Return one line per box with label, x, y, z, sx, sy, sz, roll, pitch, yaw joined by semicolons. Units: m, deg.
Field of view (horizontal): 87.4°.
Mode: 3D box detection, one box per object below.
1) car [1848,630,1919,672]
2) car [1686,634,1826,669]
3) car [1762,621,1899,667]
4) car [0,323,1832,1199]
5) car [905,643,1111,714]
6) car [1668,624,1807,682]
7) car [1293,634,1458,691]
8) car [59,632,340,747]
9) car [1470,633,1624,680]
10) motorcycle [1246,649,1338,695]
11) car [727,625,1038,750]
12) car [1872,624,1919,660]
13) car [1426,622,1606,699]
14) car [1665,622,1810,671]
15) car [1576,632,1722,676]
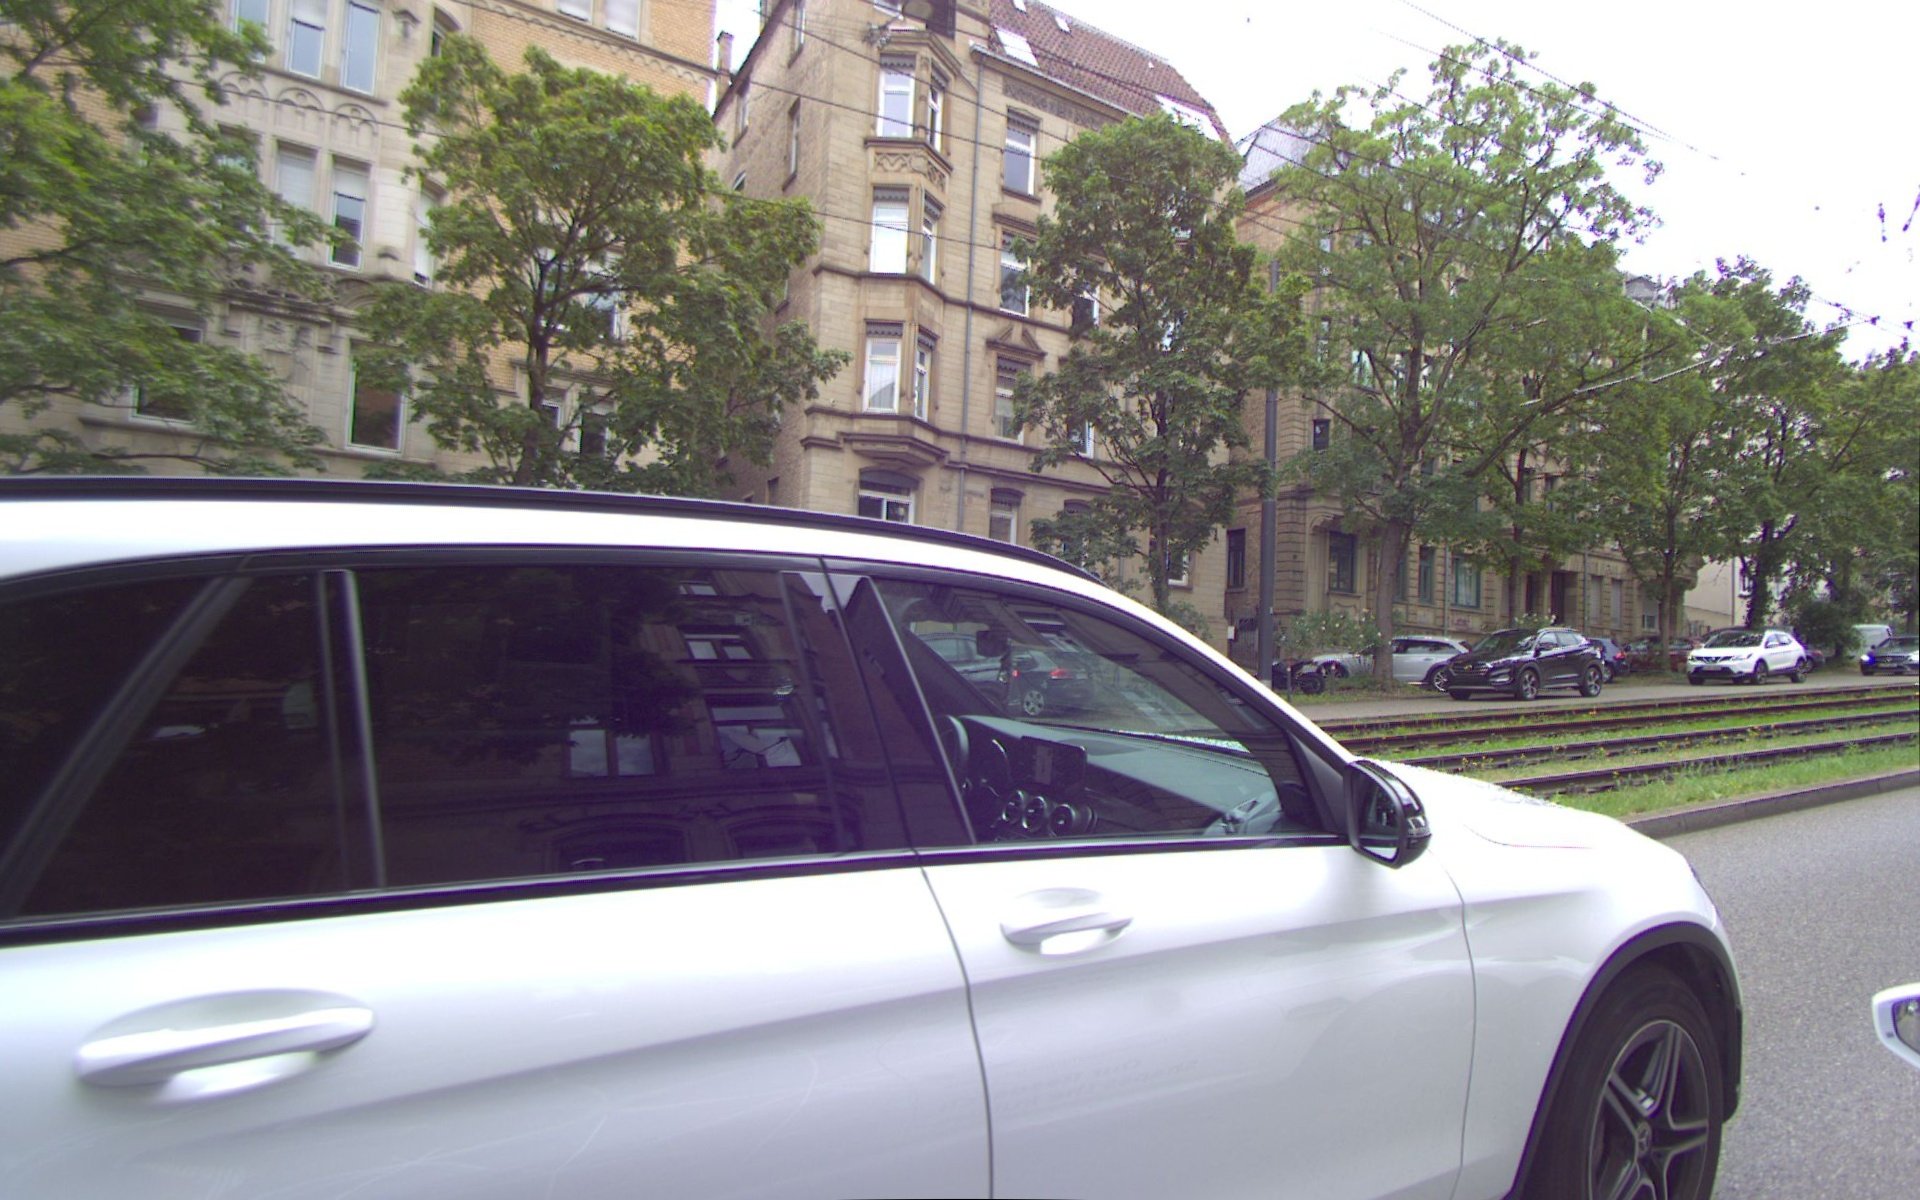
car;33.886;1.825;35.977;4.543;1.428;1.717;1;-4;-30
car;31.553;2.037;39.983;4.118;1.357;1.868;-2;-3;31
car;36.752;1.851;42.568;4.121;1.860;1.866;-2;-3;34
car;-0.145;0.661;2.204;4.618;1.689;1.826;1;-1;-32
car;0.993;1.630;21.583;4.110;1.382;1.709;-1;-2;31
car;23.416;1.594;30.210;4.294;1.637;1.772;1;-4;-30
car;11.583;1.700;28.037;4.079;1.489;1.784;-1;-3;29
car;-10.916;1.197;14.388;3.928;1.441;1.783;-1;-2;29
car;19.000;1.814;32.737;4.111;1.454;1.871;-1;-2;23
motorcycle;8.412;1.802;25.466;2.165;1.072;0.625;0;-1;26
car;-1.159;1.269;15.541;4.417;1.671;1.872;1;-4;-30
car;47.726;2.075;48.928;4.523;1.704;1.934;0;-1;28
car;13.162;1.413;23.741;4.193;1.678;1.772;1;-4;-30
car;29.623;1.790;38.450;4.118;1.791;1.868;-2;-2;31
car;24.308;1.898;35.636;4.118;1.454;1.868;-2;-3;31
